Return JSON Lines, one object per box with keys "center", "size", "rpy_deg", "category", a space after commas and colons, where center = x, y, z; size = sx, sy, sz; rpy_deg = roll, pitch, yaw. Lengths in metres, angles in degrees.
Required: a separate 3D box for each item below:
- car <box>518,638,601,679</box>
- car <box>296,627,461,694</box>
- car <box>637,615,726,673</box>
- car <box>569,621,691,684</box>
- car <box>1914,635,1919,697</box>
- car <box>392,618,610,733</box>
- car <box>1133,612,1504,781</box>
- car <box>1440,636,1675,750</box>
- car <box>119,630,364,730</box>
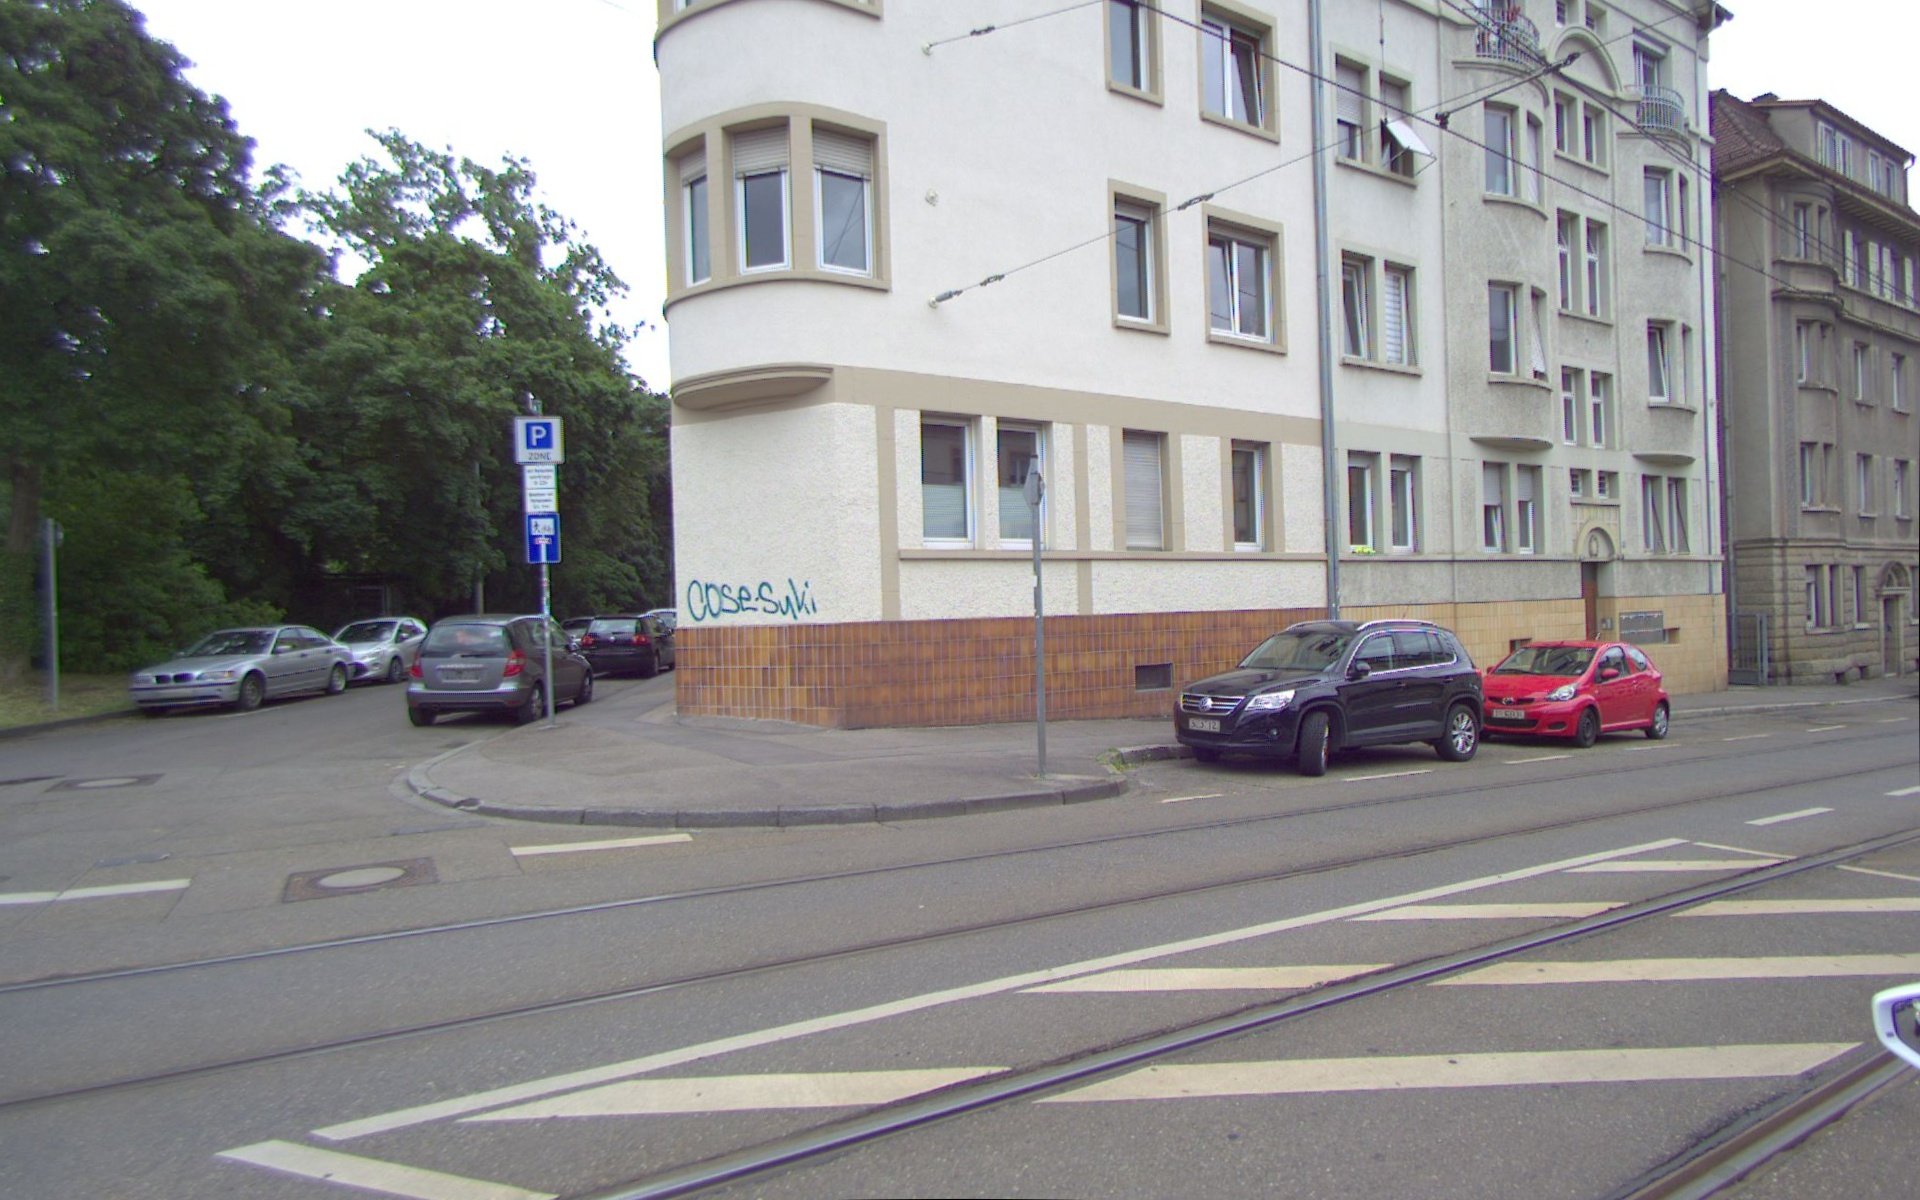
{"center": [-14.826, 2.151, 37.391], "size": [1.727, 1.438, 3.999], "rpy_deg": [0, -2, -4], "category": "car"}
{"center": [-13.449, 1.369, 23.534], "size": [1.727, 1.438, 3.999], "rpy_deg": [0, -2, -4], "category": "car"}
{"center": [-8.034, 1.267, 29.300], "size": [1.727, 1.564, 3.999], "rpy_deg": [0, -2, -4], "category": "car"}
{"center": [-7.734, 1.226, 23.929], "size": [1.840, 1.372, 3.999], "rpy_deg": [0, -2, -4], "category": "car"}
{"center": [25.015, 1.612, 24.481], "size": [3.989, 1.482, 1.612], "rpy_deg": [3, -4, -32], "category": "car"}
{"center": [-7.084, 1.122, 15.999], "size": [1.840, 1.592, 3.999], "rpy_deg": [0, -2, -4], "category": "car"}
{"center": [4.303, 1.072, 11.884], "size": [4.354, 1.667, 1.858], "rpy_deg": [3, -4, -32], "category": "car"}
{"center": [8.911, 1.327, 14.899], "size": [3.708, 1.482, 1.610], "rpy_deg": [3, -4, -35], "category": "car"}
{"center": [-12.684, 1.344, 18.083], "size": [1.727, 1.459, 3.998], "rpy_deg": [-1, 0, -4], "category": "car"}
